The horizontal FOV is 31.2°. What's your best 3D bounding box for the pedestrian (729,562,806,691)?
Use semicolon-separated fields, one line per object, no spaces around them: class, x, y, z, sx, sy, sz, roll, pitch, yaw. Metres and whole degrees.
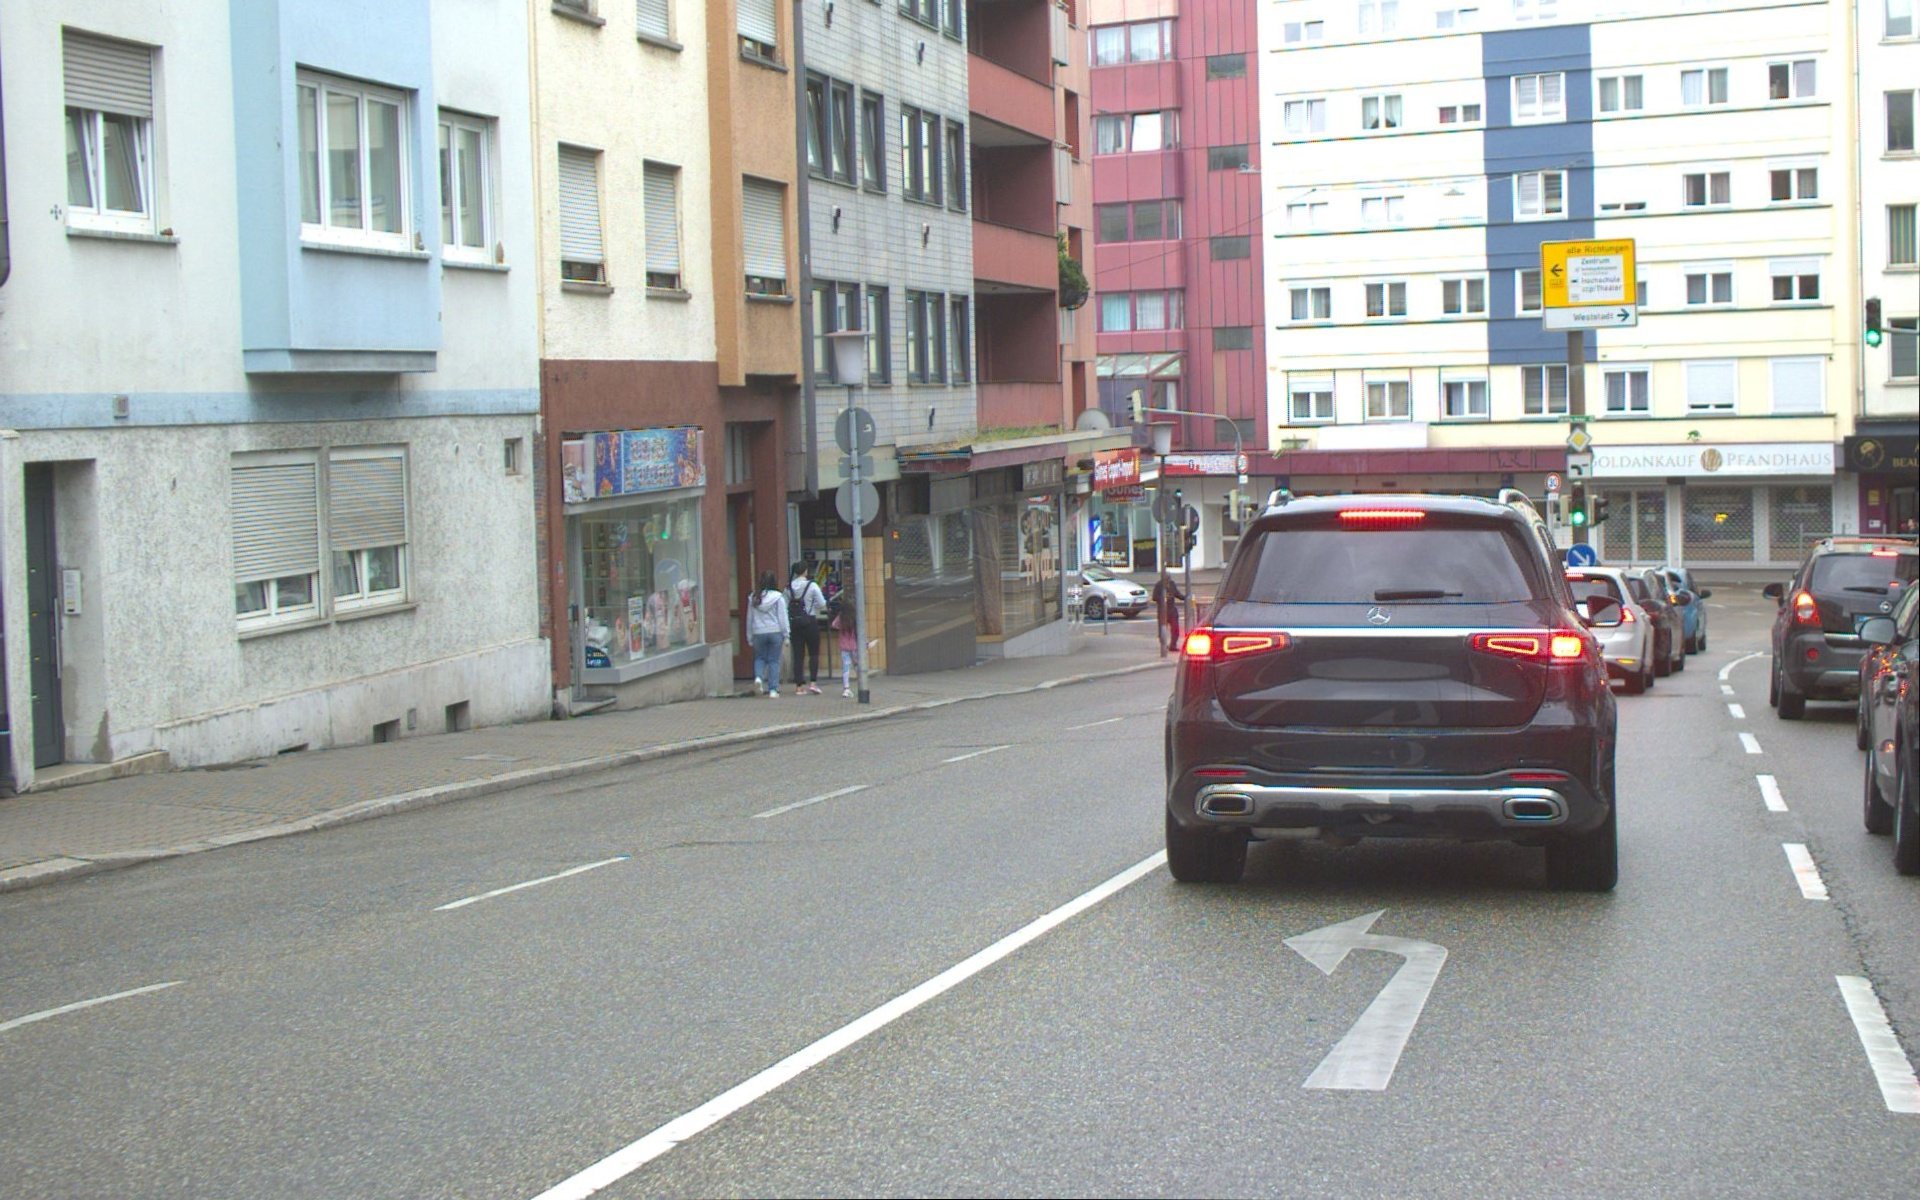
pedestrian;-2.373;0.320;42.369;0.827;1.555;0.723;1;1;4

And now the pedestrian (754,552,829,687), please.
pedestrian;-2.134;0.238;43.614;0.827;1.684;0.723;1;1;4

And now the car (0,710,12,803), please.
car;-8.764;1.020;23.406;3.988;1.345;1.679;-7;2;5

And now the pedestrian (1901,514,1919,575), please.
pedestrian;27.614;-1.613;99.702;0.564;1.683;0.755;-1;7;19

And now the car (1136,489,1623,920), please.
car;2.205;0.398;16.879;2.039;1.793;4.661;1;1;11

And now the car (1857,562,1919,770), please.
car;7.955;0.483;26.507;1.689;1.472;3.998;3;1;11

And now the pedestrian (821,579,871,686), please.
pedestrian;-1.445;0.404;43.566;0.533;1.318;0.723;1;1;4

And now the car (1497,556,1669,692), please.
car;7.394;0.234;40.702;1.874;1.489;4.398;1;1;11

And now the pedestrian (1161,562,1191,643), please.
pedestrian;4.534;0.052;72.252;0.554;1.691;0.623;-1;1;9

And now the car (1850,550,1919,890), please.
car;5.652;0.565;17.616;1.824;1.554;4.199;2;1;11

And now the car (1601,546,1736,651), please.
car;11.087;-0.003;53.690;1.926;1.510;4.660;2;0;12

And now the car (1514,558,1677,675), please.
car;8.648;0.192;46.524;1.994;1.481;4.234;-1;1;12

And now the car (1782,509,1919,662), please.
car;13.975;-0.234;52.991;2.244;2.220;5.424;1;1;16

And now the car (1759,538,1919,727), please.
car;8.936;0.276;33.830;1.898;1.689;4.503;3;1;11
